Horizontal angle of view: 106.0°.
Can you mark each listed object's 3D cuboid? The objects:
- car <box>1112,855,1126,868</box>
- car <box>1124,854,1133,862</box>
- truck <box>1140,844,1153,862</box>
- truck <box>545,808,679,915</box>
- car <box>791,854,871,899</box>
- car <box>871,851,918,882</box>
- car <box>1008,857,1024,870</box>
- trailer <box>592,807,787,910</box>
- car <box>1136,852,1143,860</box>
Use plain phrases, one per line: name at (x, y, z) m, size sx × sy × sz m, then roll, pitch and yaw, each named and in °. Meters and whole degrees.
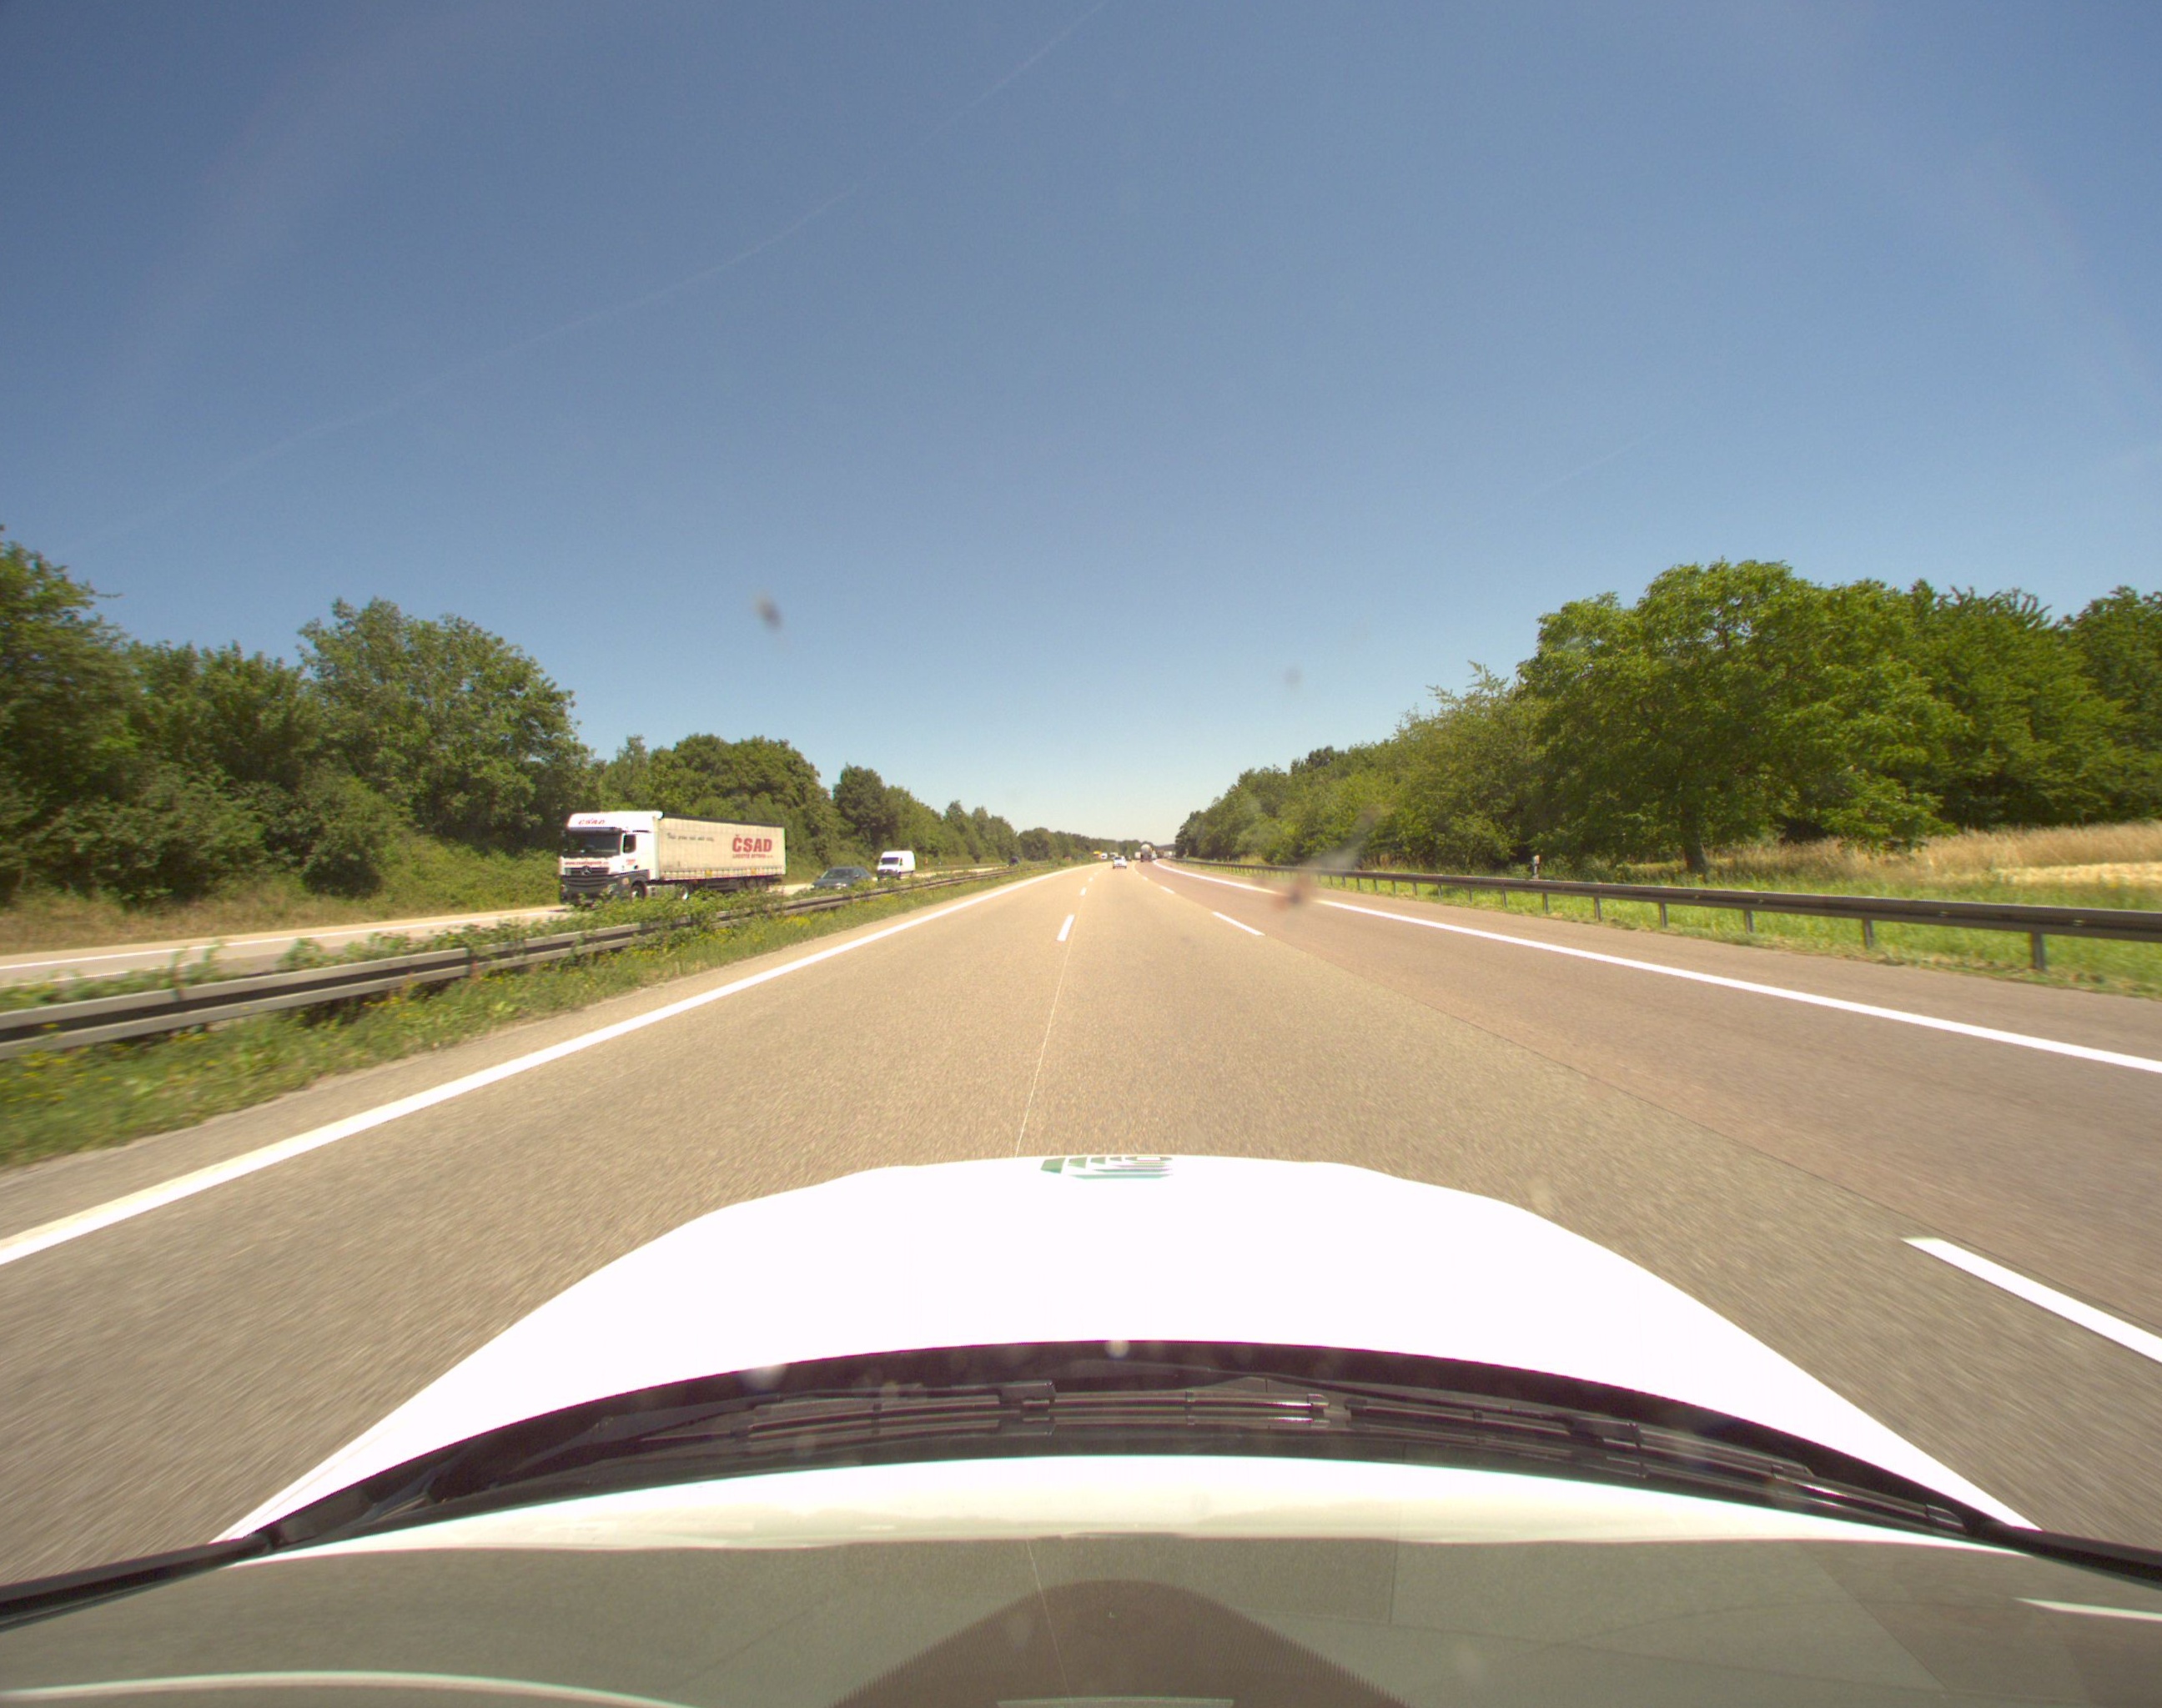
car at (4.629, 0.911, 100.470) m, size 1.621 × 1.479 × 4.002 m, roll -2°, pitch -1°, yaw 2°
car at (11.733, 0.967, 202.649) m, size 1.984 × 2.013 × 4.006 m, roll -3°, pitch 0°, yaw 6°
truck at (15.015, -0.159, 185.855) m, size 2.726 × 4.052 × 10.467 m, roll -2°, pitch -1°, yaw 5°
truck at (-19.066, 0.305, 33.403) m, size 2.692 × 3.965 × 4.444 m, roll -3°, pitch 0°, yaw 1°
car at (-11.519, 0.994, 37.896) m, size 1.986 × 1.861 × 4.957 m, roll -3°, pitch 0°, yaw 1°
car at (-17.188, 1.132, 75.564) m, size 2.220 × 2.576 × 7.395 m, roll -3°, pitch 0°, yaw 2°
car at (-9.943, 1.457, 124.662) m, size 1.820 × 1.906 × 4.958 m, roll -2°, pitch 0°, yaw 2°
trailer at (-18.838, 0.219, 40.846) m, size 2.696 × 4.184 × 13.563 m, roll -3°, pitch 0°, yaw 2°
car at (18.219, 0.635, 253.712) m, size 1.984 × 2.343 × 4.393 m, roll -2°, pitch 0°, yaw 5°
